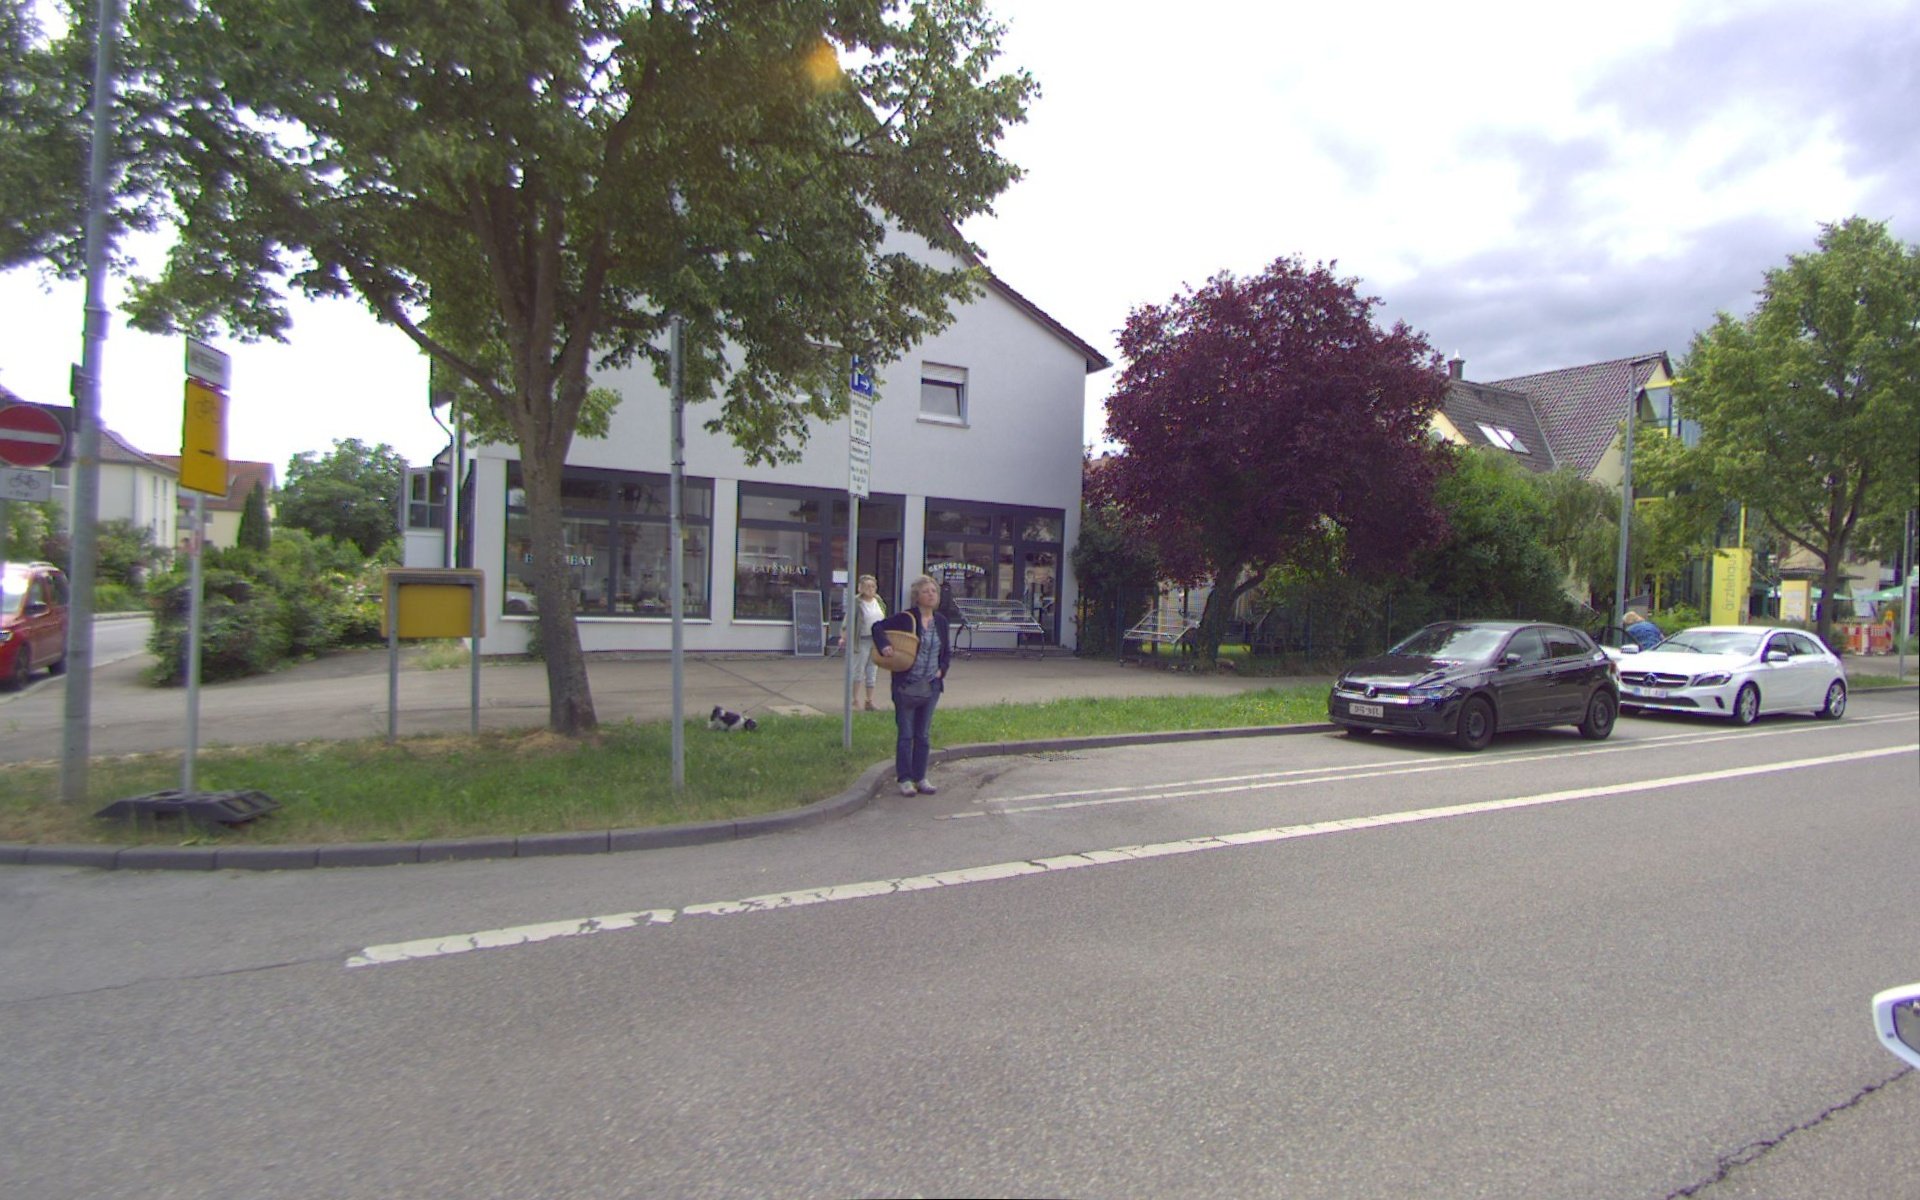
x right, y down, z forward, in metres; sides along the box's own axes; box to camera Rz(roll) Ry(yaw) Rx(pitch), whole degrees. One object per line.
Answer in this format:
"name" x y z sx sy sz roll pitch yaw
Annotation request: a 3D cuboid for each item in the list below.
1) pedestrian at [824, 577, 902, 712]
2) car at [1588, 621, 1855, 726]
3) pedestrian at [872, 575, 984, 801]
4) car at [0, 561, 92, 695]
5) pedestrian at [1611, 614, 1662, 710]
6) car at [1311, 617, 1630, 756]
"pedestrian" -1.157 0.518 12.020 0.796 1.572 0.428 1 1 -29
"car" 11.940 1.077 15.703 4.246 1.425 1.707 1 0 -28
"pedestrian" -0.266 0.662 7.977 0.739 1.704 0.541 0 2 -21
"car" -14.710 0.334 15.038 1.852 1.801 4.323 3 -1 -32
"pedestrian" 11.246 1.014 16.719 0.572 1.549 0.698 1 0 25
"car" 6.332 0.966 12.356 3.973 1.439 1.635 1 -1 -31
